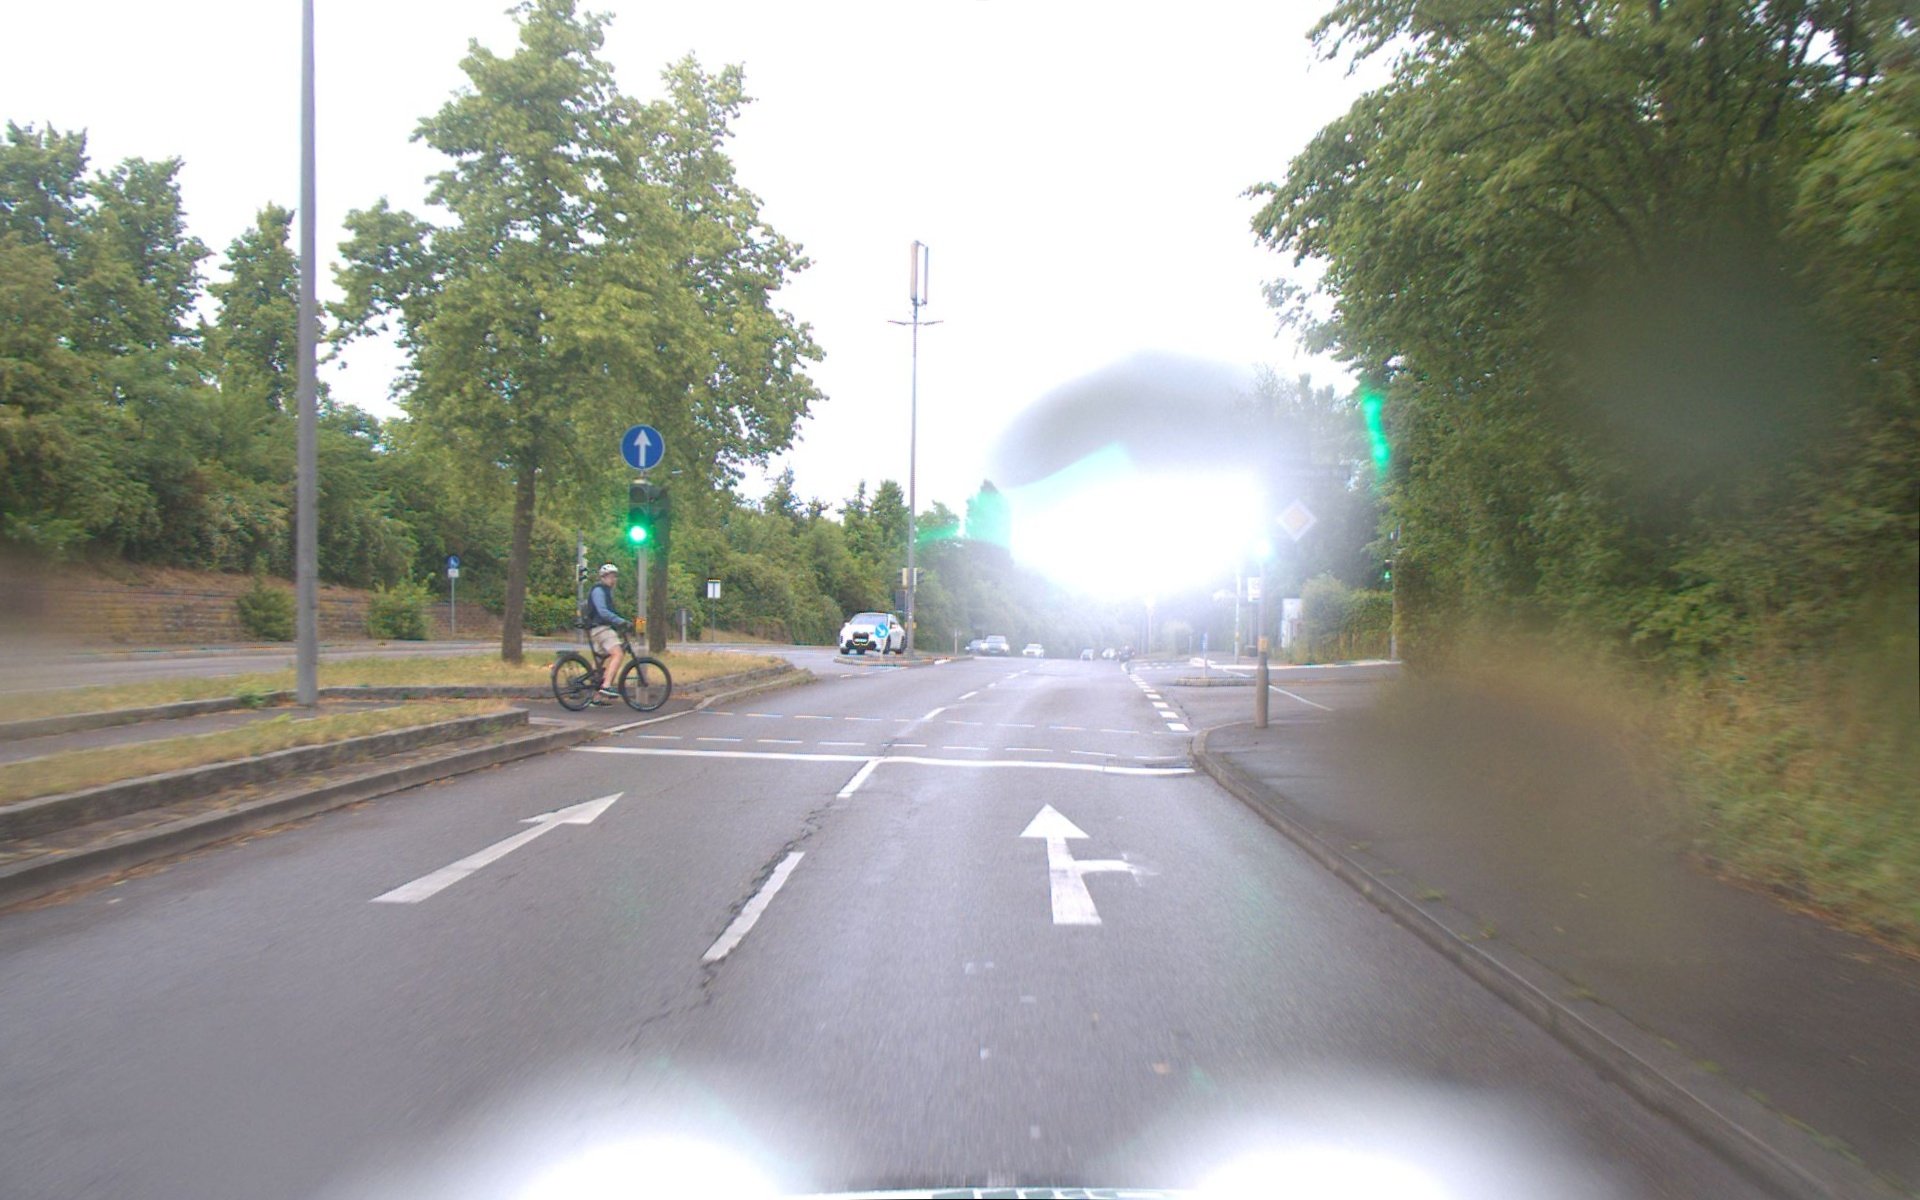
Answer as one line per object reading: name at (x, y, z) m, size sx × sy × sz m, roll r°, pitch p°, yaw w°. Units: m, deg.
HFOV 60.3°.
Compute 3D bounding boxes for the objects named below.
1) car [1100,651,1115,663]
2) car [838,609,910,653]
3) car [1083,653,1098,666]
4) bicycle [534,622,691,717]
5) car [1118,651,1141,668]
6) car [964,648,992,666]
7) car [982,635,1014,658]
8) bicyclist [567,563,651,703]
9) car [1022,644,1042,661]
car at (21.518, 8.370, 241.773) m, size 1.825 × 1.617 × 3.895 m, roll 4°, pitch -2°, yaw 9°
car at (-3.458, 1.283, 67.737) m, size 1.903 × 1.664 × 5.009 m, roll 1°, pitch -1°, yaw 9°
car at (17.219, 7.897, 218.441) m, size 1.689 × 1.593 × 3.895 m, roll 4°, pitch -2°, yaw 6°
bicycle at (-4.479, 0.885, 21.485) m, size 0.543 × 1.163 × 2.130 m, roll 1°, pitch -1°, yaw 38°
car at (17.837, 6.287, 174.084) m, size 1.903 × 1.619 × 3.930 m, roll 1°, pitch -1°, yaw 12°
car at (1.508, 4.772, 139.327) m, size 1.781 × 1.463 × 4.457 m, roll 1°, pitch -1°, yaw 8°
car at (2.684, 3.214, 114.761) m, size 1.740 × 1.498 × 4.647 m, roll 2°, pitch -2°, yaw 7°
bicyclist at (-4.572, 0.445, 21.577) m, size 0.711 × 1.783 × 0.798 m, roll -2°, pitch -4°, yaw 38°
car at (7.400, 5.341, 169.630) m, size 1.687 × 1.619 × 4.003 m, roll 1°, pitch -1°, yaw 8°
